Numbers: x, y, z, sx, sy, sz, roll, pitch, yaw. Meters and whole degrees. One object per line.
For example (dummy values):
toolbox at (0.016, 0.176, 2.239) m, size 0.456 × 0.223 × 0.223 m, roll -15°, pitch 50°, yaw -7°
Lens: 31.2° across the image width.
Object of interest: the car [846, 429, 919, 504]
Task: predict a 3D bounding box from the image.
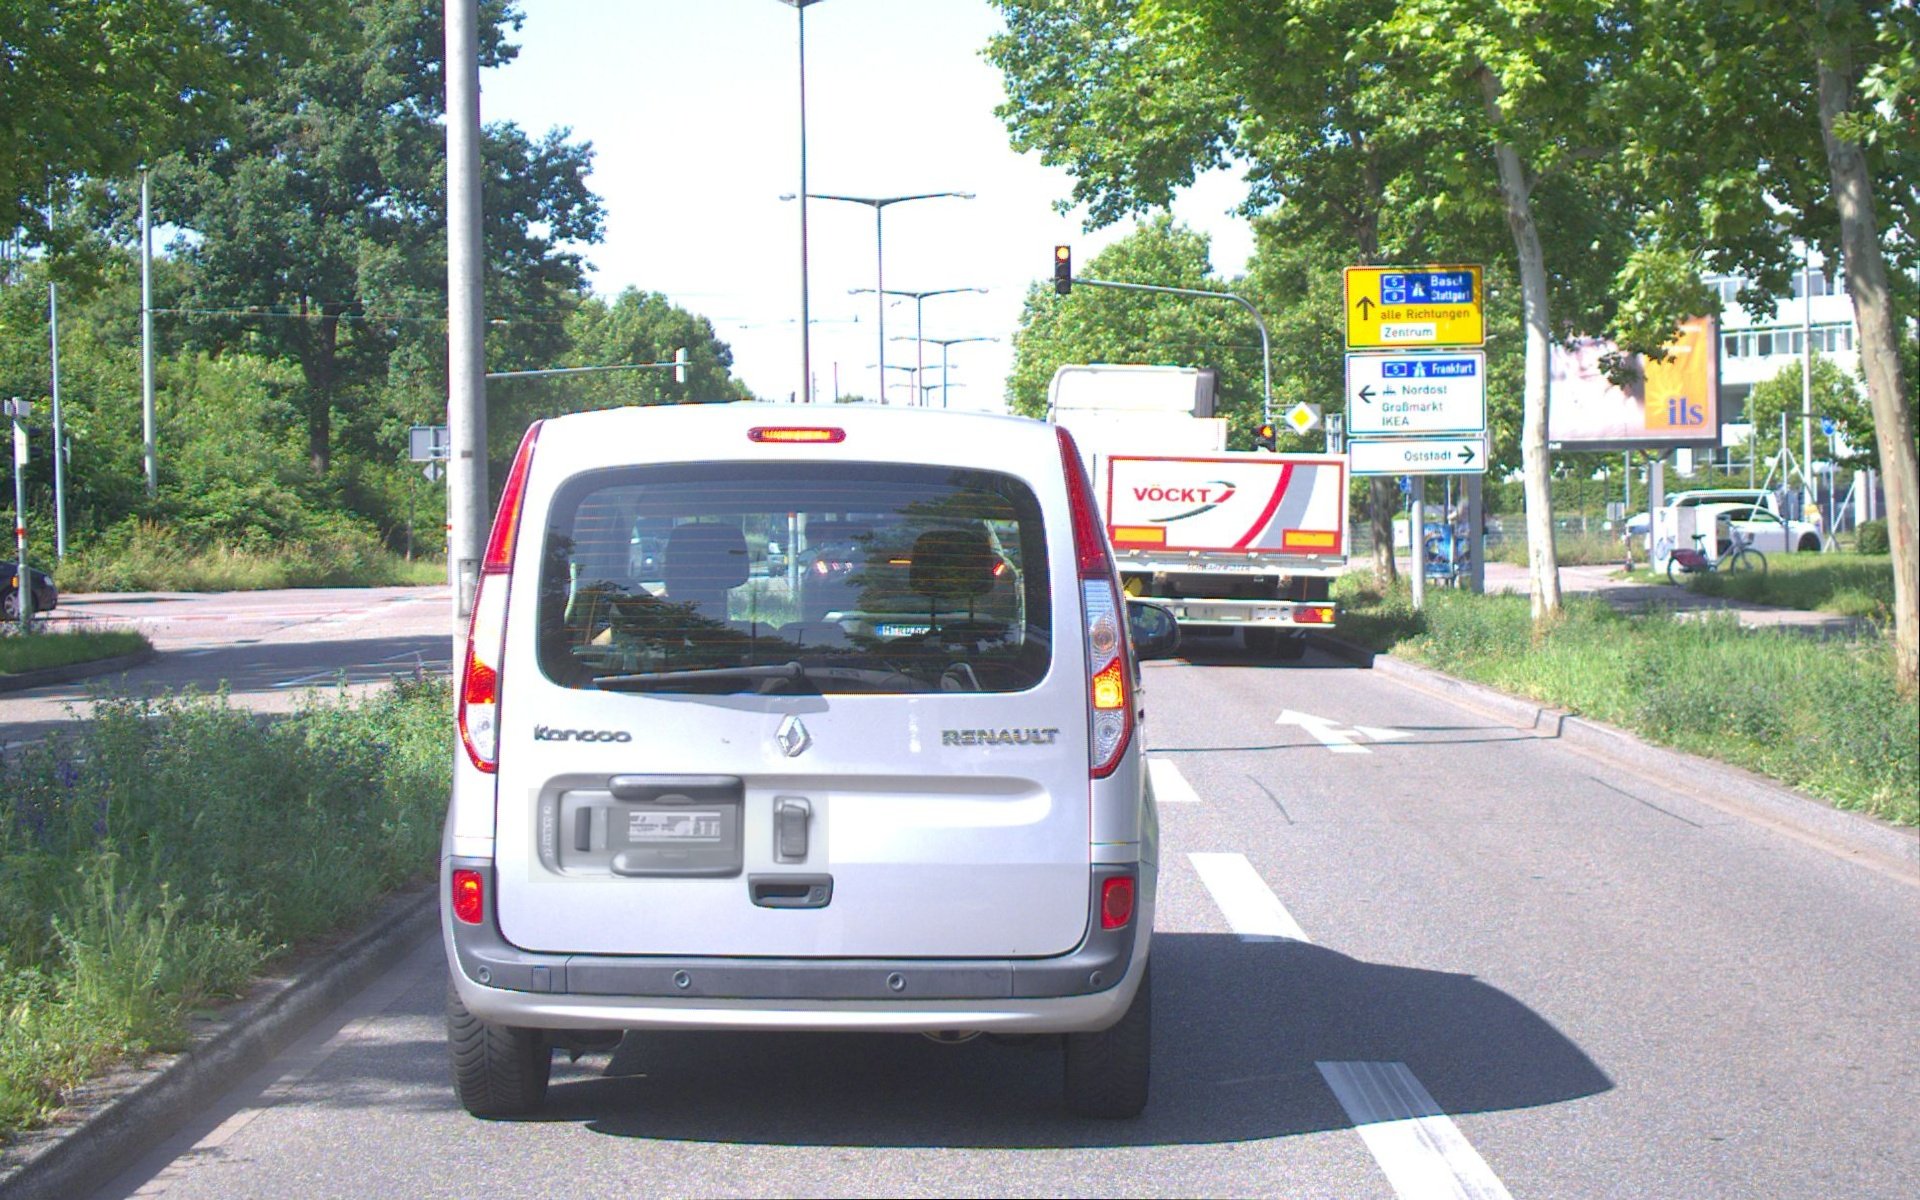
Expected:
car at (-2.188, -3.702, 95.983) m, size 1.713 × 2.007 × 4.001 m, roll 0°, pitch 1°, yaw -6°

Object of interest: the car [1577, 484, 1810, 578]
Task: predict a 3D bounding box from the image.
car at (13.448, -1.267, 63.166) m, size 3.988 × 1.656 × 1.723 m, roll 1°, pitch 1°, yaw 5°

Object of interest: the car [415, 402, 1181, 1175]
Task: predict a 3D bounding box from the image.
car at (-0.396, 0.401, 9.894) m, size 1.749 × 1.766 × 3.950 m, roll 1°, pitch 1°, yaw -1°

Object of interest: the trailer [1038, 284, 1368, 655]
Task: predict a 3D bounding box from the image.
trailer at (2.599, -1.431, 40.924) m, size 3.016 × 3.728 × 12.240 m, roll 1°, pitch 1°, yaw 0°

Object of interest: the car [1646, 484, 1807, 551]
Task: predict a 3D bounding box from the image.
car at (23.888, -2.567, 107.241) m, size 4.523 × 2.007 × 2.000 m, roll 1°, pitch 1°, yaw -1°

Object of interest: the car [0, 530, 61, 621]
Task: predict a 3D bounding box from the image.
car at (-17.750, -0.443, 59.544) m, size 3.986 × 1.568 × 1.939 m, roll 0°, pitch 1°, yaw -23°

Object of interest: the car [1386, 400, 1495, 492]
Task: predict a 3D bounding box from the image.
car at (9.895, -3.154, 70.997) m, size 1.816 × 1.789 × 3.443 m, roll 1°, pitch 1°, yaw 1°

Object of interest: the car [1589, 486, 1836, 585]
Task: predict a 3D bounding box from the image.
car at (13.019, -1.121, 59.689) m, size 3.988 × 1.656 × 1.723 m, roll 1°, pitch 1°, yaw 5°

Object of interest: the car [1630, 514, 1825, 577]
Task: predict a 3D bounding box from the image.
car at (17.994, -1.279, 80.546) m, size 4.439 × 1.422 × 1.731 m, roll 0°, pitch 1°, yaw -30°

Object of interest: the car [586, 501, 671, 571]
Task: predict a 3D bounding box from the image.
car at (-9.591, -1.861, 99.705) m, size 1.993 × 1.884 × 4.988 m, roll -2°, pitch 1°, yaw -1°

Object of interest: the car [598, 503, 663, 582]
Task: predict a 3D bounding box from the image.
car at (-11.190, -1.958, 116.474) m, size 2.058 × 2.605 × 5.871 m, roll 0°, pitch 1°, yaw -6°

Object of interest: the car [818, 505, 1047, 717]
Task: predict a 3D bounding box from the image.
car at (-0.305, 0.051, 29.511) m, size 1.809 × 1.678 × 4.001 m, roll 1°, pitch 1°, yaw -3°

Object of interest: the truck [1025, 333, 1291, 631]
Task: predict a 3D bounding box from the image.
truck at (2.587, -1.565, 47.413) m, size 3.071 × 3.745 × 7.477 m, roll 1°, pitch 1°, yaw -1°
